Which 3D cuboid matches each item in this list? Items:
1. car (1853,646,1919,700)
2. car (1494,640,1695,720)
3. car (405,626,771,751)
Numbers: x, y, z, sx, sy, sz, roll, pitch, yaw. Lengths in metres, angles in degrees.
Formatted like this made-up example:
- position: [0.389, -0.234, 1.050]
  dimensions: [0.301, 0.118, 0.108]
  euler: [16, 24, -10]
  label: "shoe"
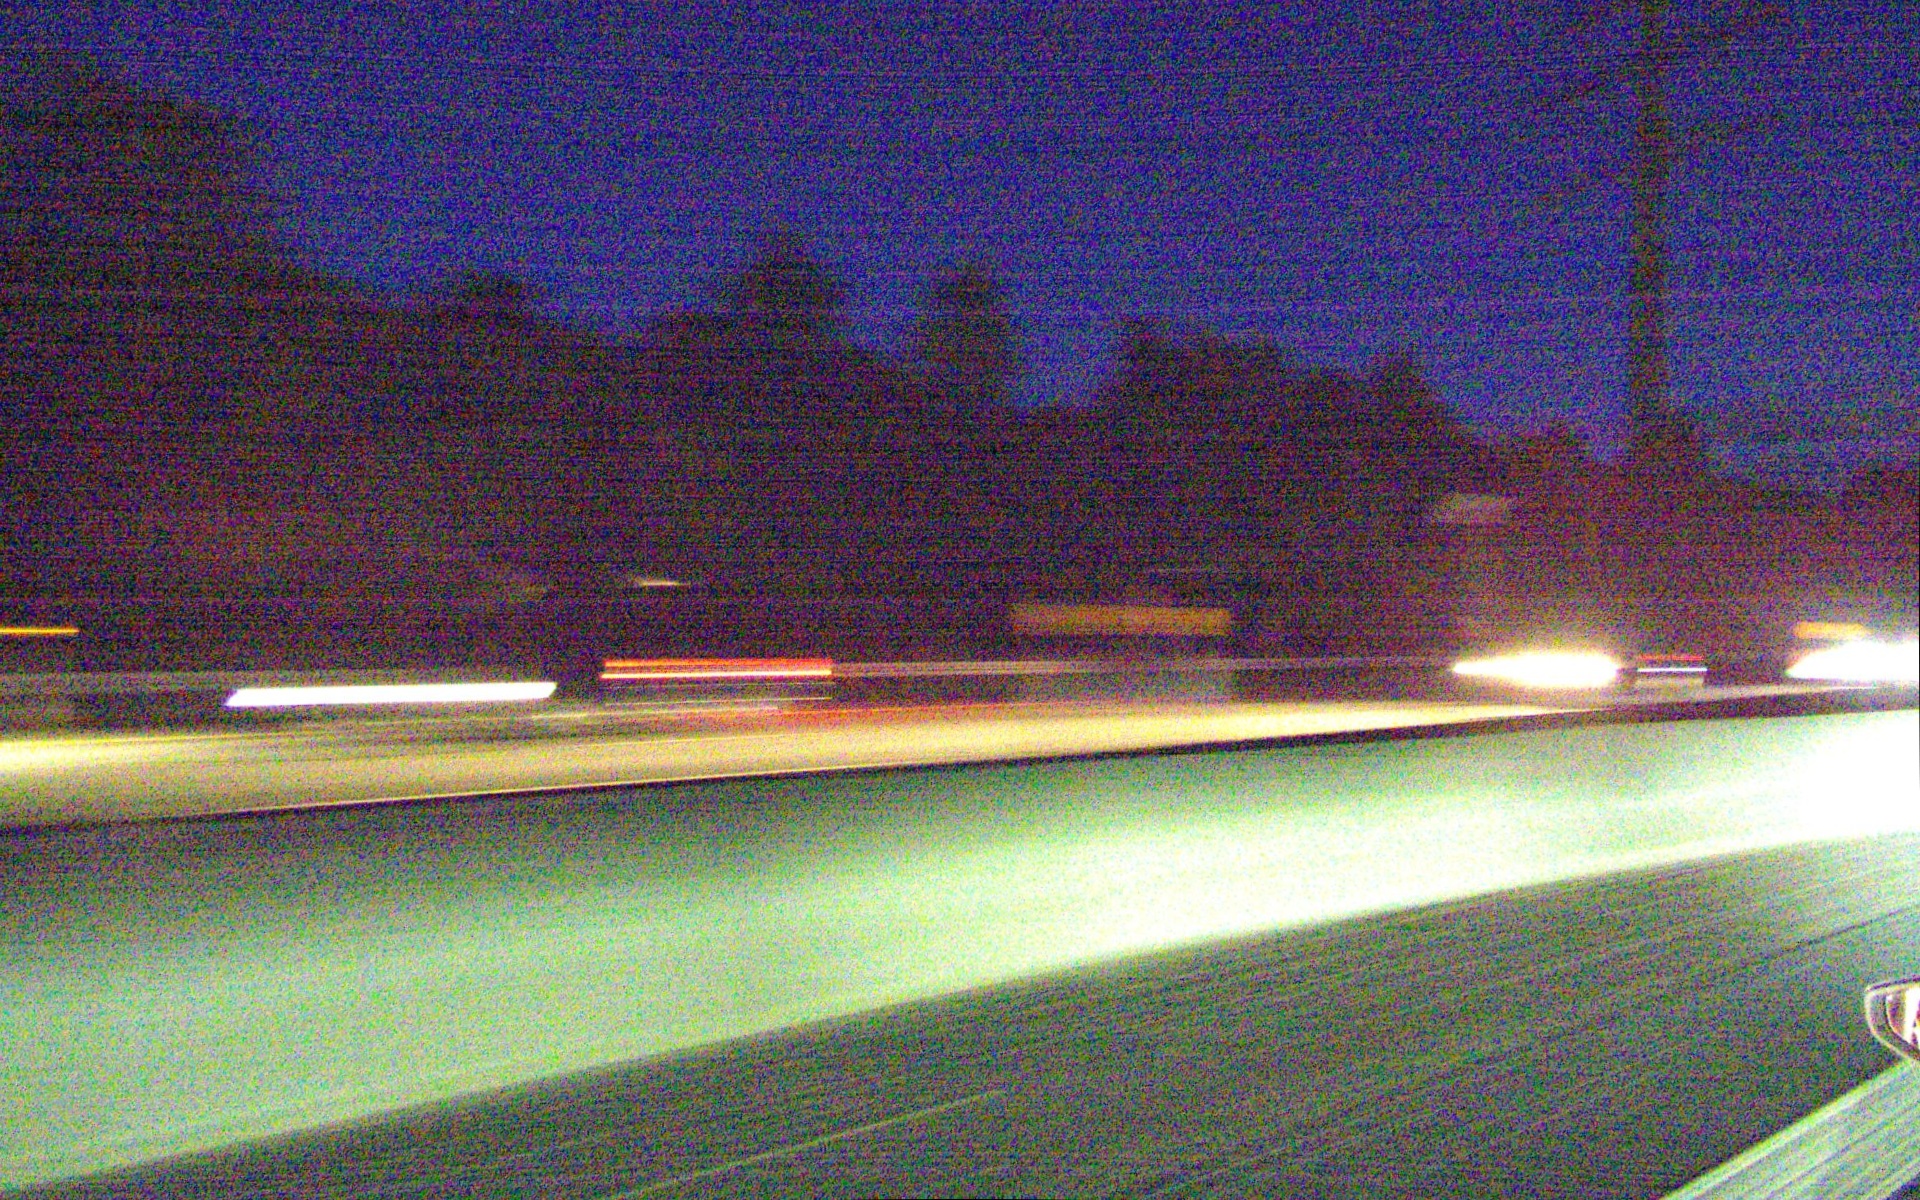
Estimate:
- position: [28.708, 2.142, 30.073]
  dimensions: [4.531, 1.498, 1.741]
  euler: [2, -3, -32]
  label: "car"
- position: [13.224, 1.596, 20.861]
  dimensions: [4.531, 1.498, 1.741]
  euler: [2, -3, -32]
  label: "car"
- position: [-5.095, 1.148, 13.983]
  dimensions: [4.531, 1.498, 1.741]
  euler: [2, -3, -32]
  label: "car"
